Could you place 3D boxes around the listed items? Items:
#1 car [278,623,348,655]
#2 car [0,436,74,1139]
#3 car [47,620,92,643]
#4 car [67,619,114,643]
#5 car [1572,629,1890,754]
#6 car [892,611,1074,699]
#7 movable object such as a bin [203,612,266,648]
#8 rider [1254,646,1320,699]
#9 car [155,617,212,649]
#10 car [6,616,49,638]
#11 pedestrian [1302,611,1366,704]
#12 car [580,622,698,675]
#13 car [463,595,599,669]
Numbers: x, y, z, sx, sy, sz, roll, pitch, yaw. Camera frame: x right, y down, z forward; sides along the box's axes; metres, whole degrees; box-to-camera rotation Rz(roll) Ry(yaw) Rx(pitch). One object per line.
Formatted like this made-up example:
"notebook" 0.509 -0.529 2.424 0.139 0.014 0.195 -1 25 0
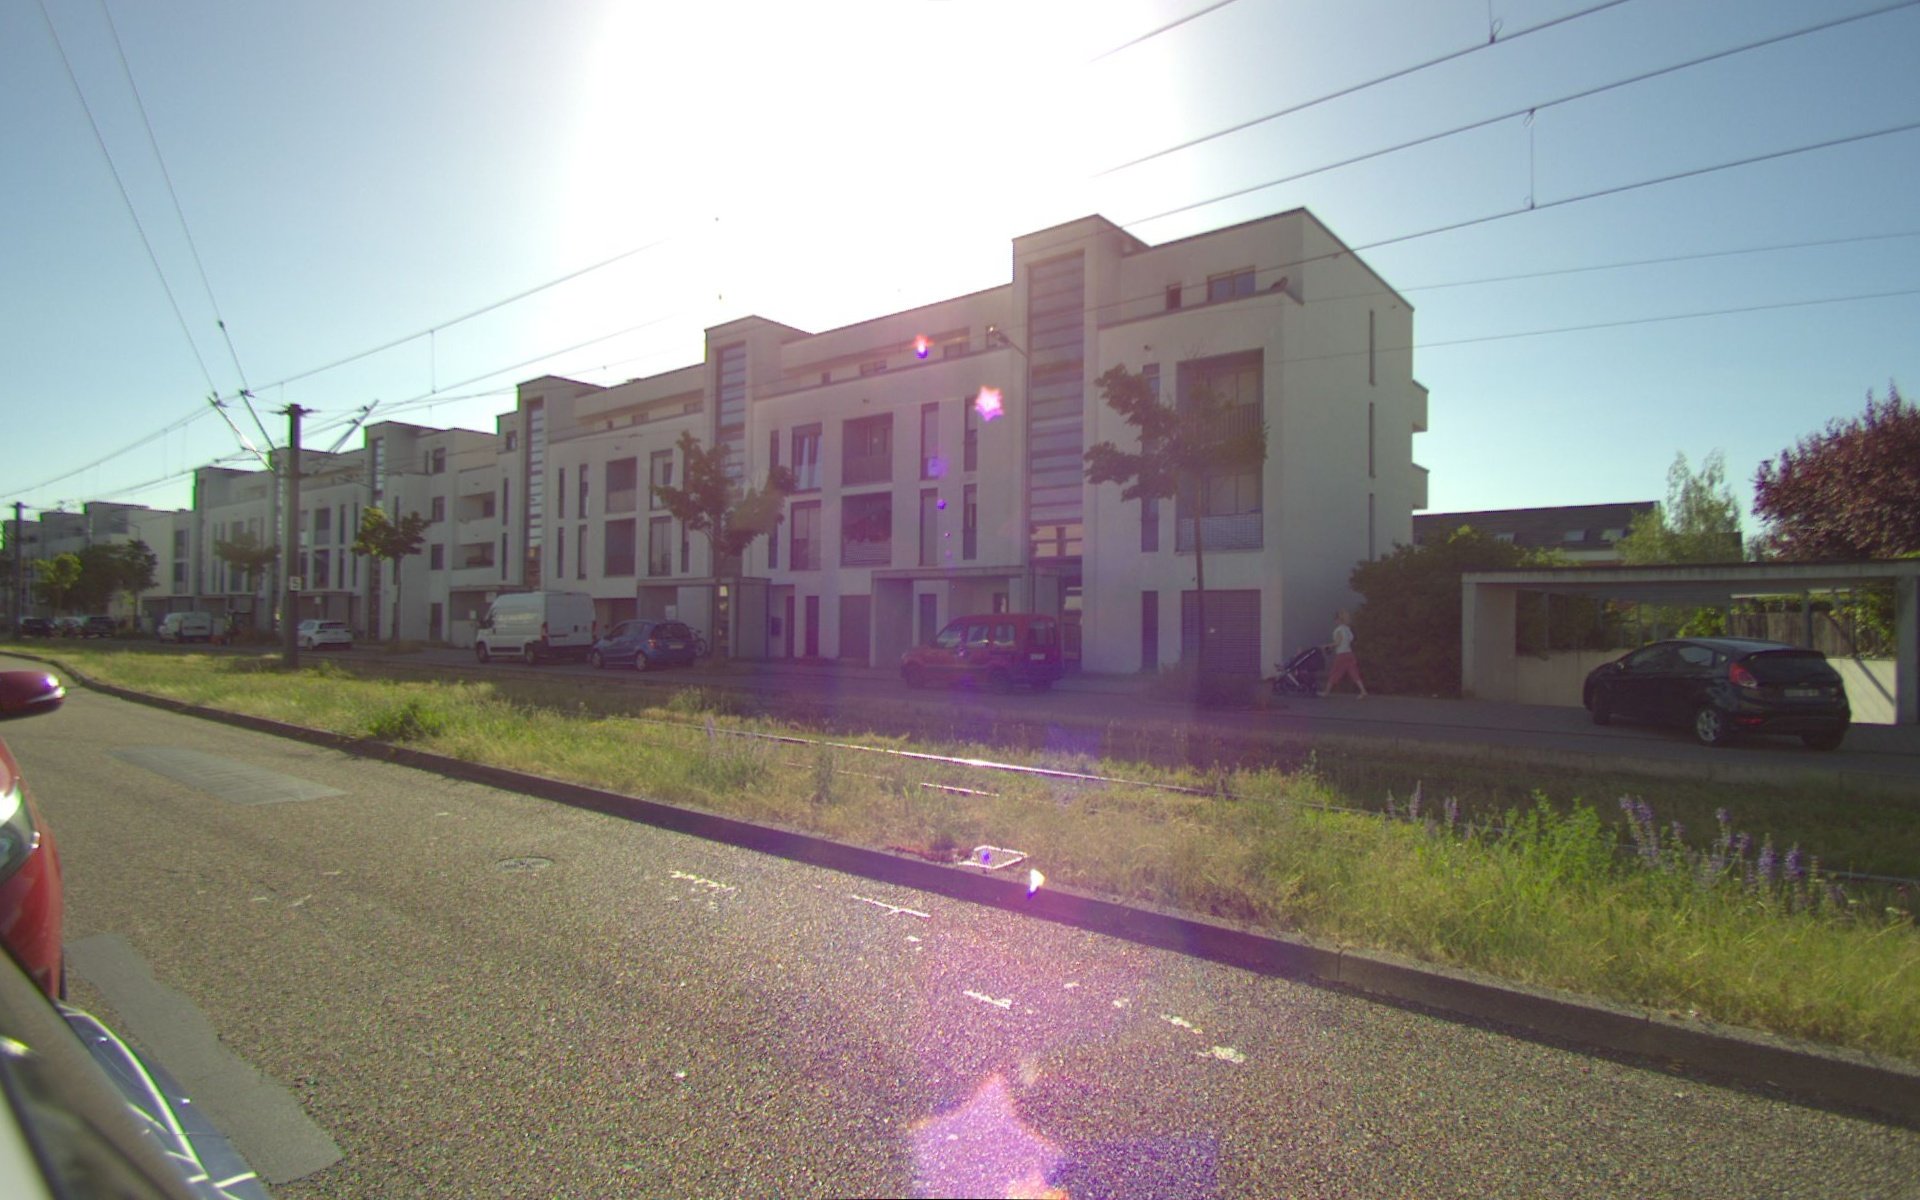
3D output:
"car" -31.254 1.871 48.874 4.149 1.443 1.503 -1 -1 37
"car" -5.146 0.570 3.924 5.203 1.948 1.954 -1 0 42
"car" -67.573 2.376 76.777 4.149 1.611 1.745 -1 -1 37
"car" -63.053 2.233 73.406 4.149 1.611 1.745 -1 -1 37
"car" 10.902 1.217 14.696 1.684 1.441 3.740 1 0 -1
"car" 0.466 1.188 23.024 3.836 1.809 1.861 -1 -1 42
"movable object such as a bin" -41.321 1.698 57.614 4.149 1.952 1.745 -1 -1 37
"rider" 6.655 1.464 20.601 0.769 1.010 1.046 0 -1 -45
"car" -47.278 1.992 61.601 4.149 1.884 1.745 -1 -1 37
"car" -64.888 1.907 70.383 3.999 1.429 1.769 -1 -4 42
"pedestrian" 7.344 1.106 19.891 0.806 1.761 0.910 0 -1 -45
"car" -10.087 1.475 31.711 3.840 1.548 1.805 -1 -1 41
"car" -15.361 1.099 36.105 5.583 2.463 2.119 -1 -1 39
